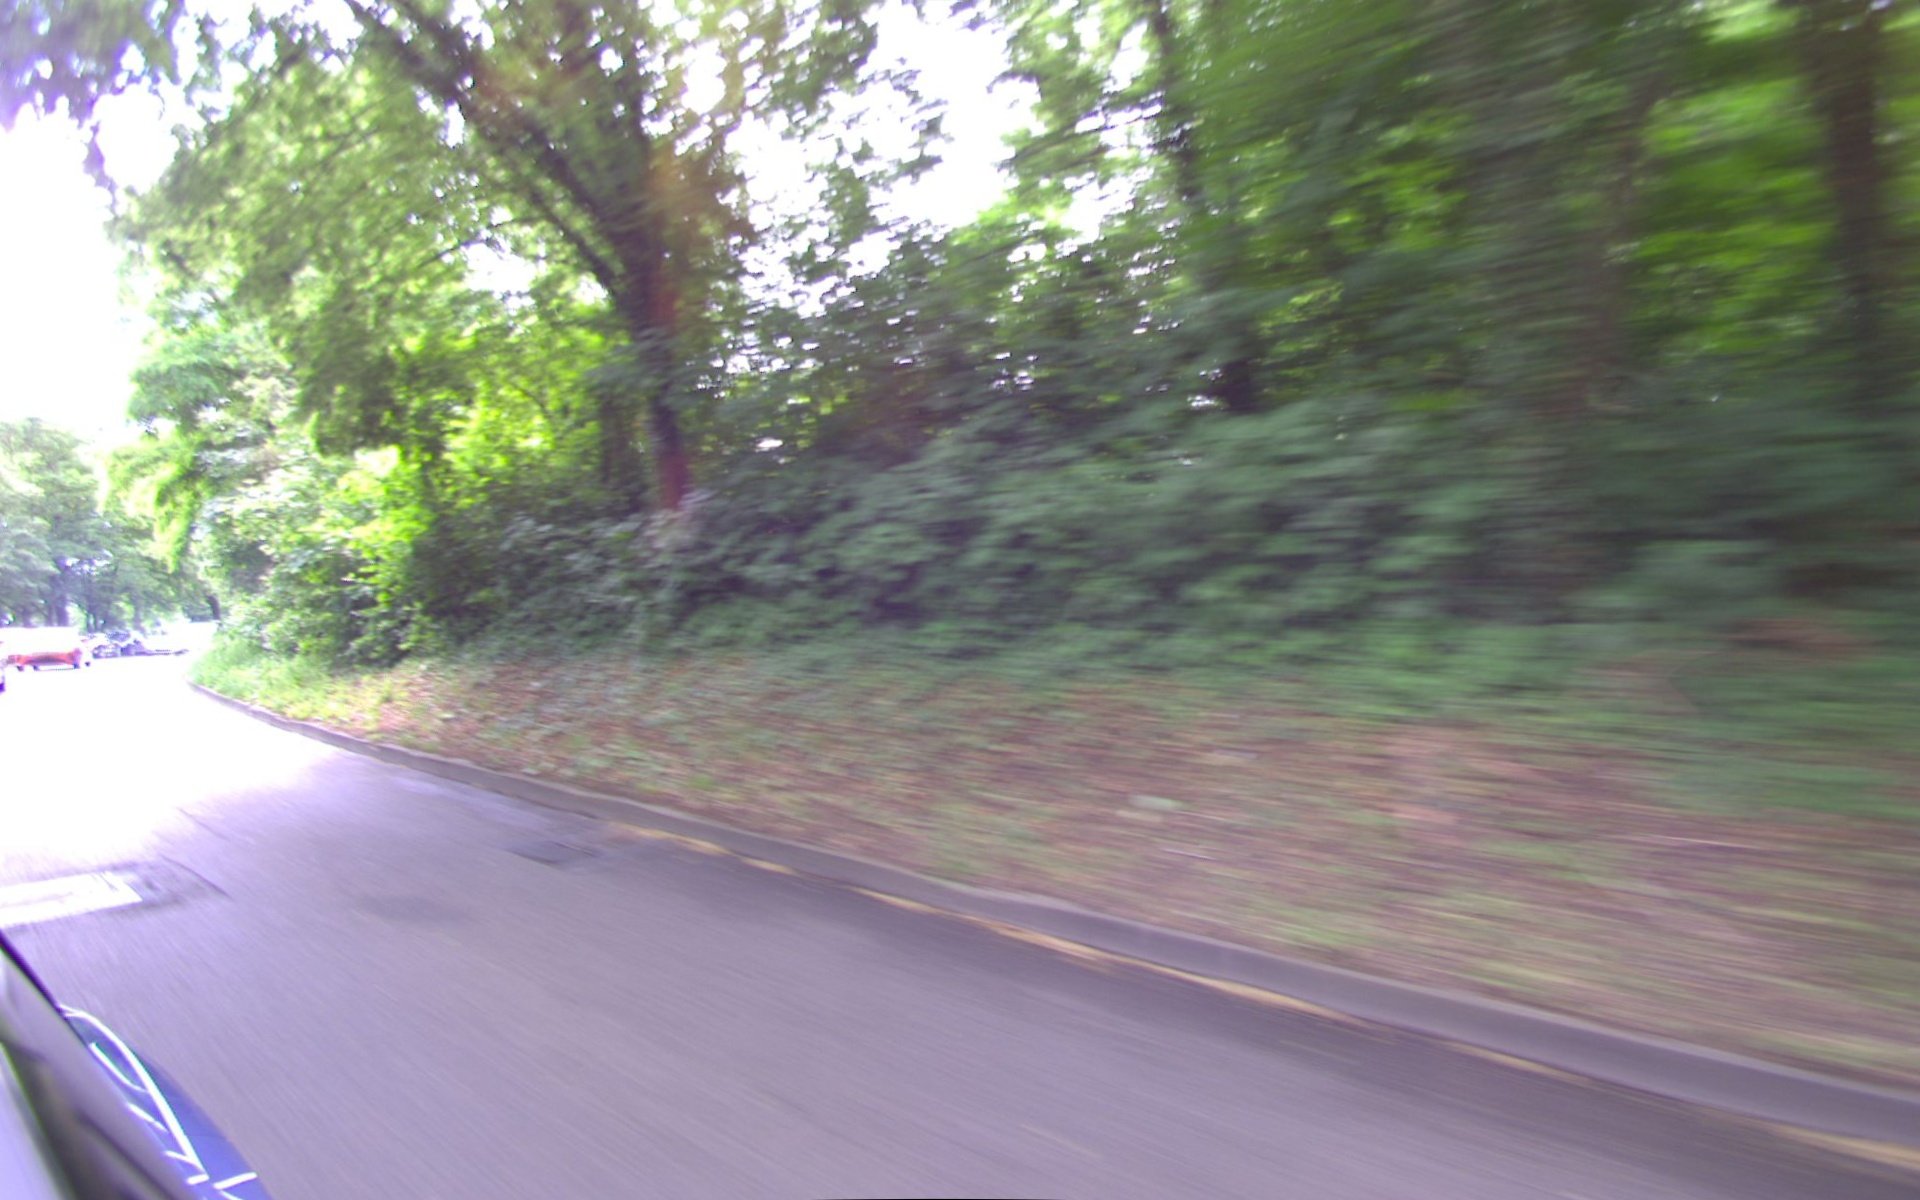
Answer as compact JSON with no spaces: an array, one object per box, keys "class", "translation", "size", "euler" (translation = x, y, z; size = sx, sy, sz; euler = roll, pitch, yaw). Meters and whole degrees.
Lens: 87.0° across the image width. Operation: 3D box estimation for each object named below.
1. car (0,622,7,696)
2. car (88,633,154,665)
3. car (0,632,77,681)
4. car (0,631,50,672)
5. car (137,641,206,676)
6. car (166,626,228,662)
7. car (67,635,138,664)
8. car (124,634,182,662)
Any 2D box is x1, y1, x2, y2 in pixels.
[{"class":"car","translation":[-21.426,1.305,21.091],"size":[1.974,1.620,4.684],"euler":[-3,0,-40]},{"class":"car","translation":[-46.999,2.698,56.786],"size":[1.686,1.522,4.692],"euler":[-2,0,-26]},{"class":"car","translation":[-32.279,1.919,35.407],"size":[1.930,1.483,4.682],"euler":[-3,0,-43]},{"class":"car","translation":[-39.700,2.148,42.151],"size":[1.687,1.563,4.691],"euler":[-3,0,-30]},{"class":"car","translation":[-43.205,3.177,55.539],"size":[1.627,1.580,4.058],"euler":[-2,0,-18]},{"class":"car","translation":[-35.451,2.024,47.119],"size":[1.769,1.519,4.012],"euler":[-2,0,-29]},{"class":"car","translation":[-45.591,2.614,53.903],"size":[1.686,1.265,4.692],"euler":[-3,0,-26]},{"class":"car","translation":[-49.081,2.904,61.636],"size":[1.686,1.432,4.692],"euler":[-2,0,-26]}]
